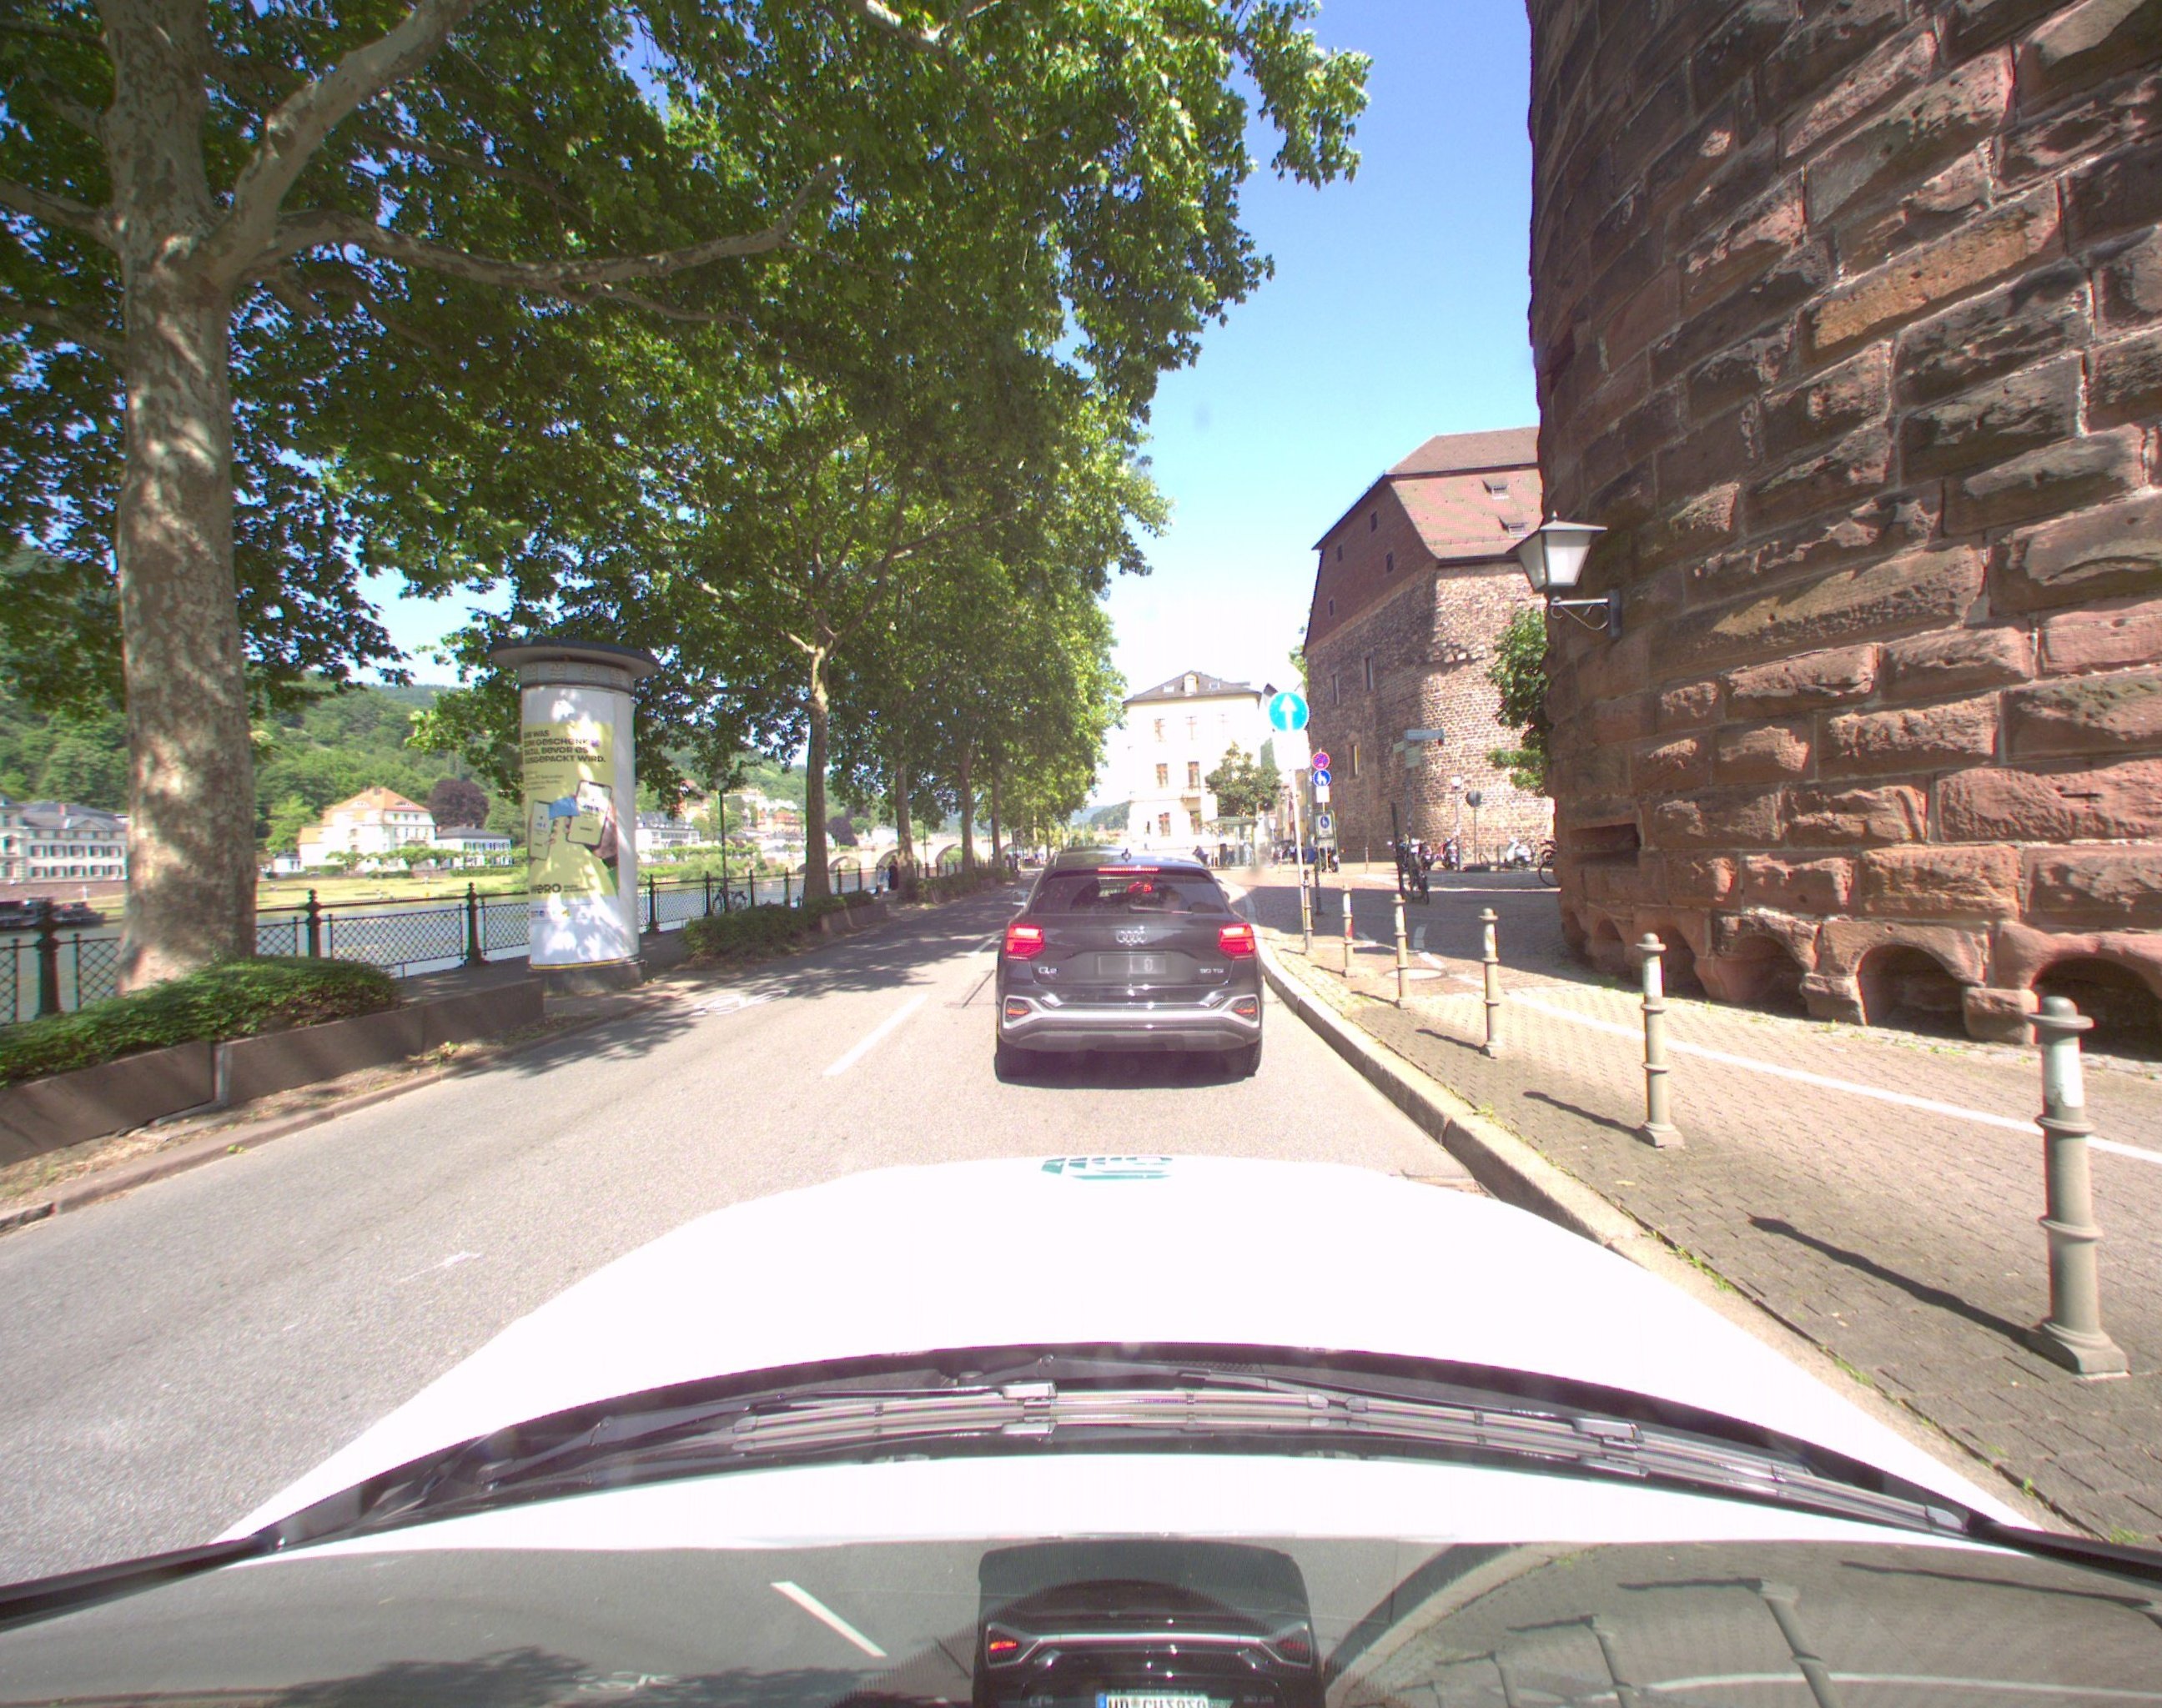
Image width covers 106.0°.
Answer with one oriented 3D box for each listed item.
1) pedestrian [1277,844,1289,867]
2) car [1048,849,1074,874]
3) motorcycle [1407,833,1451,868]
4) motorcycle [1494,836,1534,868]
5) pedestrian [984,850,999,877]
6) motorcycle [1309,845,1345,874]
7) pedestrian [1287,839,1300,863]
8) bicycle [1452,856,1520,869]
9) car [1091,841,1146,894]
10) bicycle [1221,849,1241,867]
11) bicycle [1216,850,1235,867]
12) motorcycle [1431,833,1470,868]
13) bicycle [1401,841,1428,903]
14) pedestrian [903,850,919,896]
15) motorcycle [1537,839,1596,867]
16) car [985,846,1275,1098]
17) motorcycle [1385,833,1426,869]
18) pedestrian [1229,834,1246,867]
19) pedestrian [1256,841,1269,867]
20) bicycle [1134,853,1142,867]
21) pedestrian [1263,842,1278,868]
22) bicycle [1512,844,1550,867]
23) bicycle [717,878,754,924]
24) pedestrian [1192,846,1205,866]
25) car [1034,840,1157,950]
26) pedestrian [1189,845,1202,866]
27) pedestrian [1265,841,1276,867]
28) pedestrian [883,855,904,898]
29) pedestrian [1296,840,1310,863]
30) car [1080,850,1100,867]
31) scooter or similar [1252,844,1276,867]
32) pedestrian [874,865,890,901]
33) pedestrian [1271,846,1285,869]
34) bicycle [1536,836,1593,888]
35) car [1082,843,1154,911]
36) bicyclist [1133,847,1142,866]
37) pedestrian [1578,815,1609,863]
[{"bbox_3d":[18.261,0.123,73.639,0.941,2.014,0.808,0,-1,2],"label":"pedestrian"},{"bbox_3d":[-1.508,0.554,62.480,1.667,1.660,4.224,-5,0,1],"label":"car"},{"bbox_3d":[12.863,-0.126,30.182,0.672,1.235,2.313,0,-1,2],"label":"motorcycle"},{"bbox_3d":[15.448,-0.063,29.094,0.505,1.073,1.841,0,-1,2],"label":"motorcycle"},{"bbox_3d":[-6.181,0.639,56.019,0.906,1.811,0.587,-1,0,6],"label":"pedestrian"},{"bbox_3d":[9.064,0.181,30.077,0.564,1.012,2.490,-2,0,1],"label":"motorcycle"},{"bbox_3d":[14.949,-0.215,57.290,0.605,1.619,0.711,-4,-1,1],"label":"pedestrian"},{"bbox_3d":[13.619,0.279,27.417,1.914,0.381,0.921,-2,-1,16],"label":"bicycle"},{"bbox_3d":[1.277,0.430,28.457,1.788,1.682,4.002,-1,0,2],"label":"car"},{"bbox_3d":[9.006,0.238,48.918,1.205,1.035,0.178,0,-1,-17],"label":"bicycle"},{"bbox_3d":[8.795,0.259,49.557,1.187,1.016,0.178,0,-1,-17],"label":"bicycle"},{"bbox_3d":[13.668,-0.112,30.177,0.544,1.235,2.031,0,-1,2],"label":"motorcycle"},{"bbox_3d":[6.857,0.333,16.766,0.192,1.203,1.775,-2,1,13],"label":"bicycle"},{"bbox_3d":[-6.923,0.773,33.180,0.532,1.887,0.437,-1,0,1],"label":"pedestrian"},{"bbox_3d":[18.346,-0.039,30.795,1.854,1.054,0.481,-1,-1,9],"label":"motorcycle"},{"bbox_3d":[0.352,0.699,6.717,1.736,1.509,3.649,0,0,2],"label":"car"},{"bbox_3d":[11.892,-0.086,29.942,0.653,1.266,2.201,-2,-1,2],"label":"motorcycle"},{"bbox_3d":[8.071,-0.180,41.966,0.652,1.662,0.810,-3,0,0],"label":"pedestrian"},{"bbox_3d":[9.528,0.011,42.712,0.555,1.385,0.588,-1,-1,4],"label":"pedestrian"},{"bbox_3d":[4.354,0.457,62.512,0.436,1.086,1.675,0,-1,-2],"label":"bicycle"},{"bbox_3d":[14.890,0.050,64.004,0.938,2.014,0.806,0,-1,-3],"label":"pedestrian"},{"bbox_3d":[16.634,0.054,30.152,0.352,0.820,1.926,0,1,1],"label":"bicycle"},{"bbox_3d":[-8.882,1.201,20.969,0.358,1.091,1.296,1,0,1],"label":"bicycle"},{"bbox_3d":[6.946,0.115,48.086,0.662,1.211,0.640,0,-1,-5],"label":"pedestrian"},{"bbox_3d":[0.265,0.589,13.586,1.786,1.595,3.400,0,0,2],"label":"car"},{"bbox_3d":[6.867,0.097,48.863,0.662,1.231,0.640,0,-1,-5],"label":"pedestrian"},{"bbox_3d":[17.174,-0.007,73.837,0.876,2.358,0.745,0,-1,1],"label":"pedestrian"},{"bbox_3d":[-7.608,0.912,33.062,0.599,1.685,0.583,-3,0,0],"label":"pedestrian"},{"bbox_3d":[15.541,-0.171,57.044,0.688,1.612,0.892,-4,0,1],"label":"pedestrian"},{"bbox_3d":[1.037,0.483,90.718,1.985,1.806,4.003,-1,-1,3],"label":"car"},{"bbox_3d":[8.841,0.081,39.360,1.085,1.066,0.323,0,-1,-1],"label":"scooter or similar"},{"bbox_3d":[-7.615,1.097,31.163,0.476,1.362,0.418,1,0,5],"label":"pedestrian"},{"bbox_3d":[12.853,0.232,53.108,0.637,1.444,0.797,-4,0,-5],"label":"pedestrian"},{"bbox_3d":[11.539,0.178,19.477,0.444,1.162,1.733,-2,0,5],"label":"bicycle"},{"bbox_3d":[0.955,0.556,21.648,1.704,1.609,3.656,-1,0,2],"label":"car"},{"bbox_3d":[4.353,0.158,62.588,0.604,1.450,0.590,0,-1,-3],"label":"bicyclist"},{"bbox_3d":[21.614,-0.619,34.366,0.869,2.014,0.734,-1,-1,10],"label":"pedestrian"}]
